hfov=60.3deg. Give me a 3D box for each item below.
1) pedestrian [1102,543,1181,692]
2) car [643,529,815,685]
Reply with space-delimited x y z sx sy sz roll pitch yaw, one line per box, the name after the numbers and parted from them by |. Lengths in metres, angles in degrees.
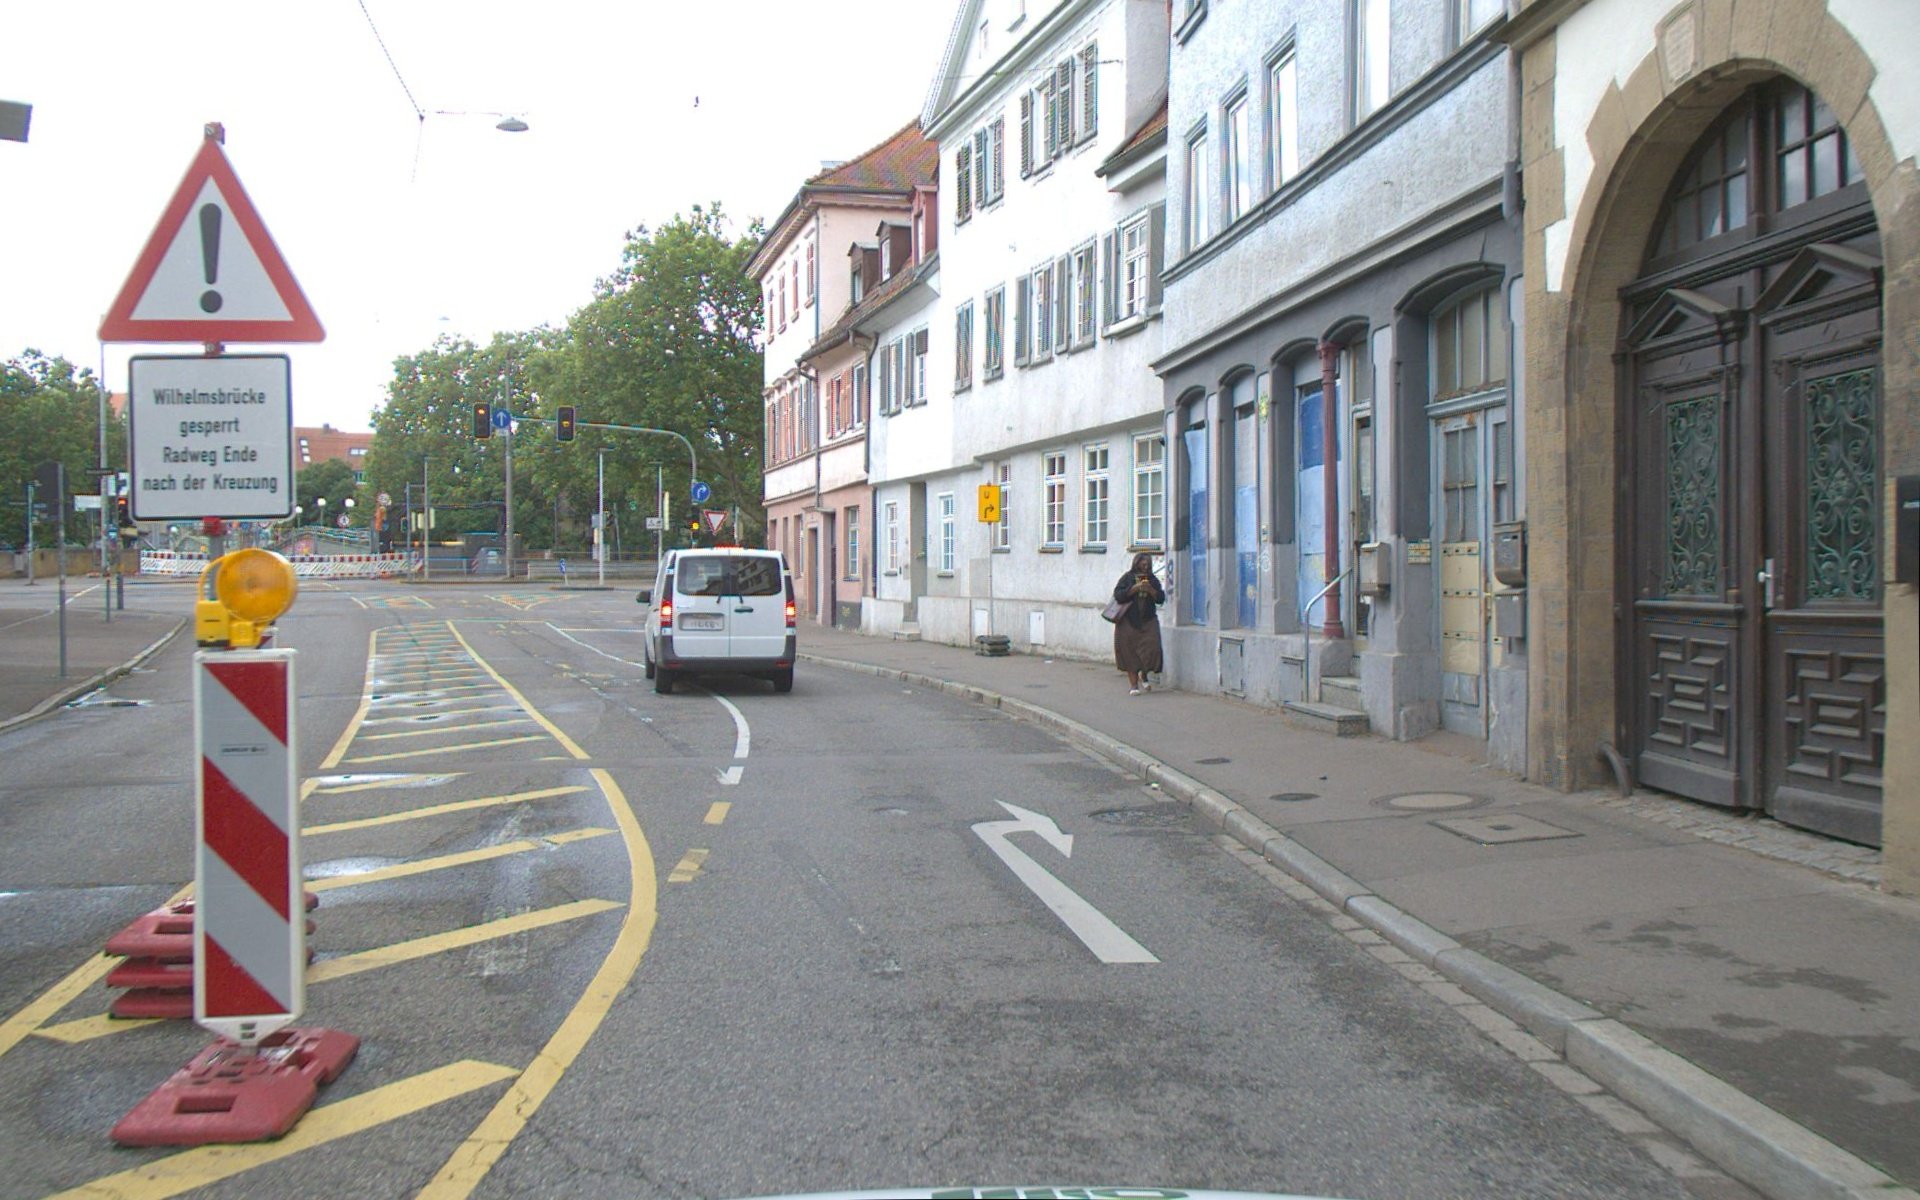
2.144 0.194 19.624 0.740 1.696 0.808 -2 2 -4 | pedestrian
-3.356 0.072 23.331 1.960 1.956 4.234 1 0 -14 | car
